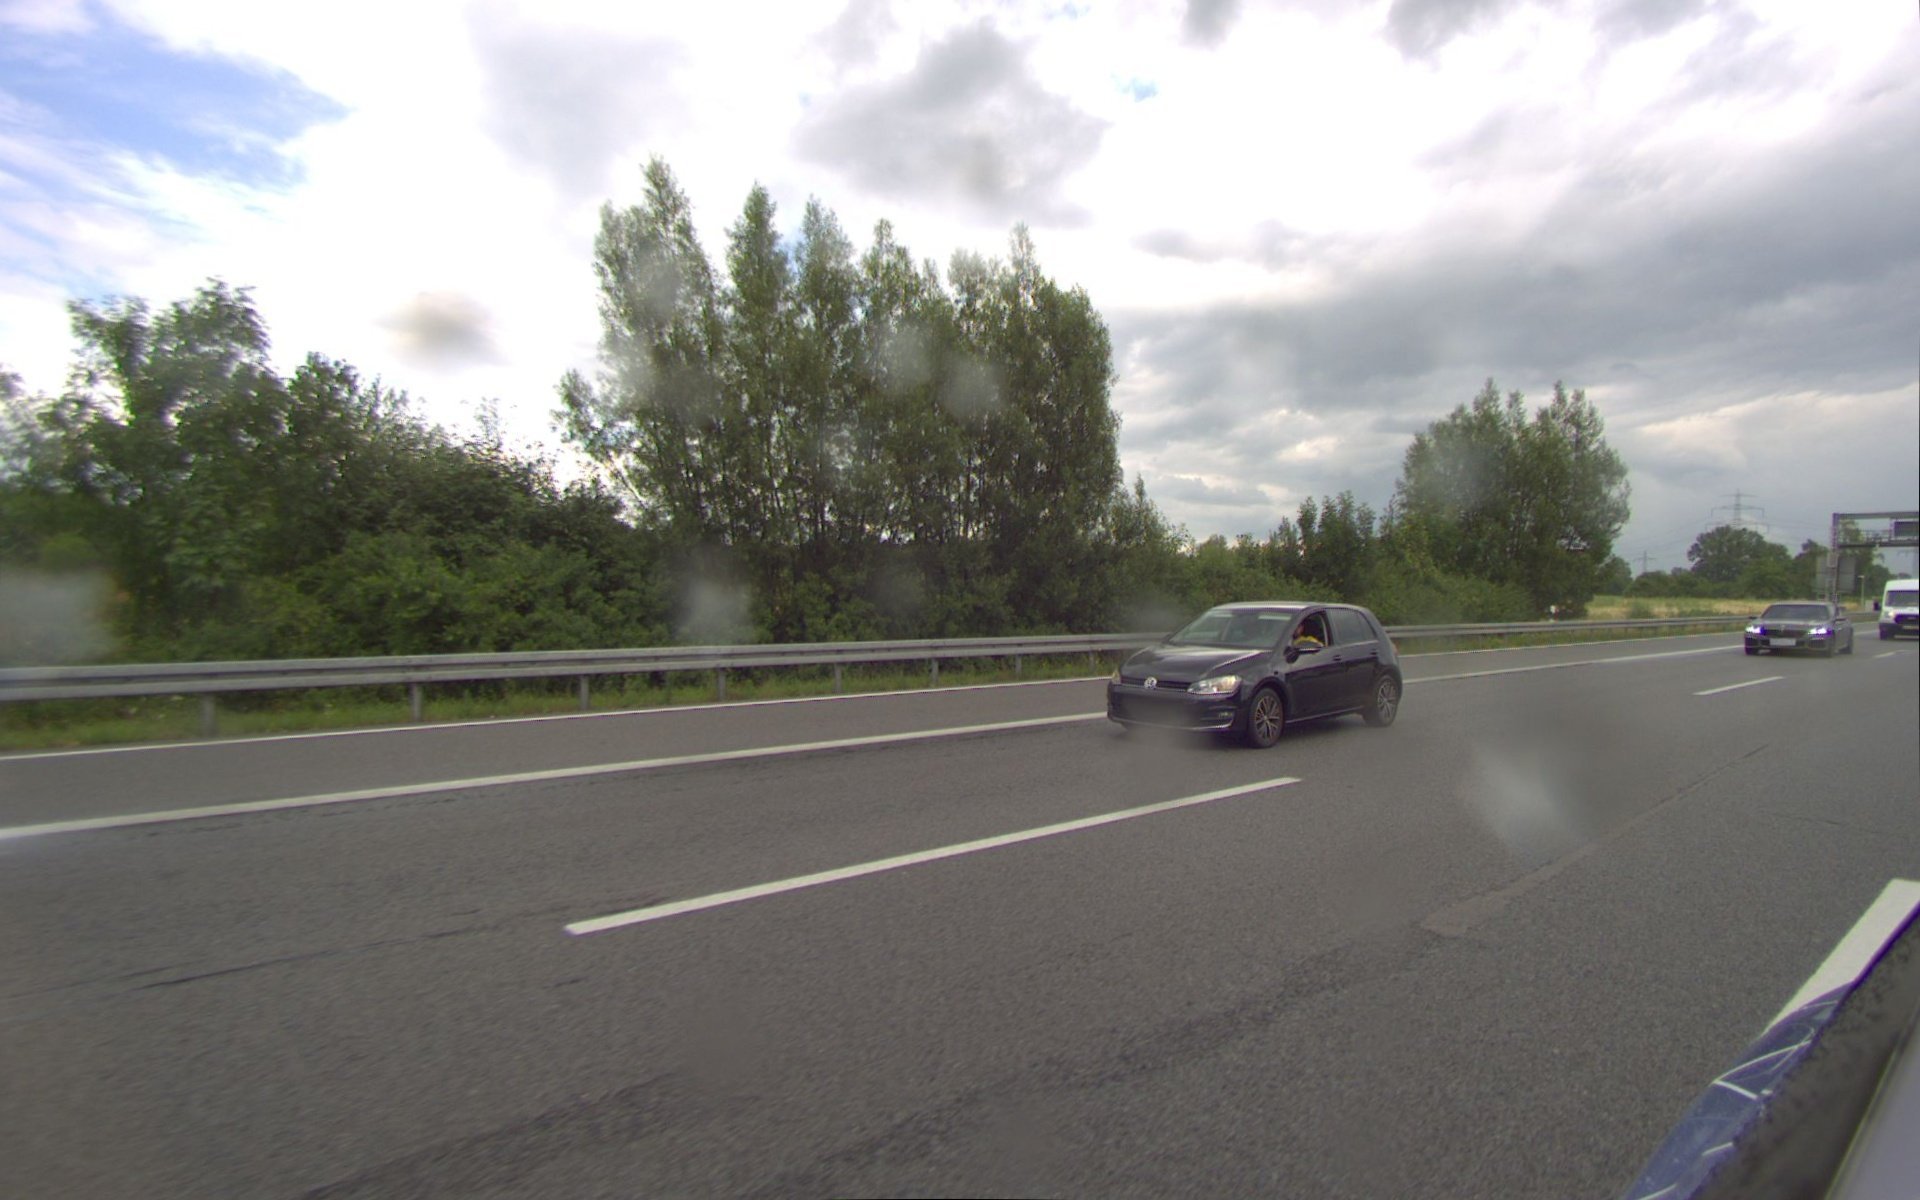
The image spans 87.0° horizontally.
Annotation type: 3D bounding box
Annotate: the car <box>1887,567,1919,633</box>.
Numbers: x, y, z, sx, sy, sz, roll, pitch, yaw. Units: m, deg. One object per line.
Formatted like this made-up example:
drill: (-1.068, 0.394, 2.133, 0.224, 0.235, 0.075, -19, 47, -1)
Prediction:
car: (38.835, -0.006, 40.388, 5.353, 2.532, 2.143, 0, 0, -41)

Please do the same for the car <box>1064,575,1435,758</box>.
car: (3.323, 0.585, 11.168, 4.375, 1.651, 1.711, 0, 0, -38)

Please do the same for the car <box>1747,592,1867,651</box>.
car: (23.962, 0.547, 28.569, 4.693, 1.510, 1.942, 0, 1, -42)
